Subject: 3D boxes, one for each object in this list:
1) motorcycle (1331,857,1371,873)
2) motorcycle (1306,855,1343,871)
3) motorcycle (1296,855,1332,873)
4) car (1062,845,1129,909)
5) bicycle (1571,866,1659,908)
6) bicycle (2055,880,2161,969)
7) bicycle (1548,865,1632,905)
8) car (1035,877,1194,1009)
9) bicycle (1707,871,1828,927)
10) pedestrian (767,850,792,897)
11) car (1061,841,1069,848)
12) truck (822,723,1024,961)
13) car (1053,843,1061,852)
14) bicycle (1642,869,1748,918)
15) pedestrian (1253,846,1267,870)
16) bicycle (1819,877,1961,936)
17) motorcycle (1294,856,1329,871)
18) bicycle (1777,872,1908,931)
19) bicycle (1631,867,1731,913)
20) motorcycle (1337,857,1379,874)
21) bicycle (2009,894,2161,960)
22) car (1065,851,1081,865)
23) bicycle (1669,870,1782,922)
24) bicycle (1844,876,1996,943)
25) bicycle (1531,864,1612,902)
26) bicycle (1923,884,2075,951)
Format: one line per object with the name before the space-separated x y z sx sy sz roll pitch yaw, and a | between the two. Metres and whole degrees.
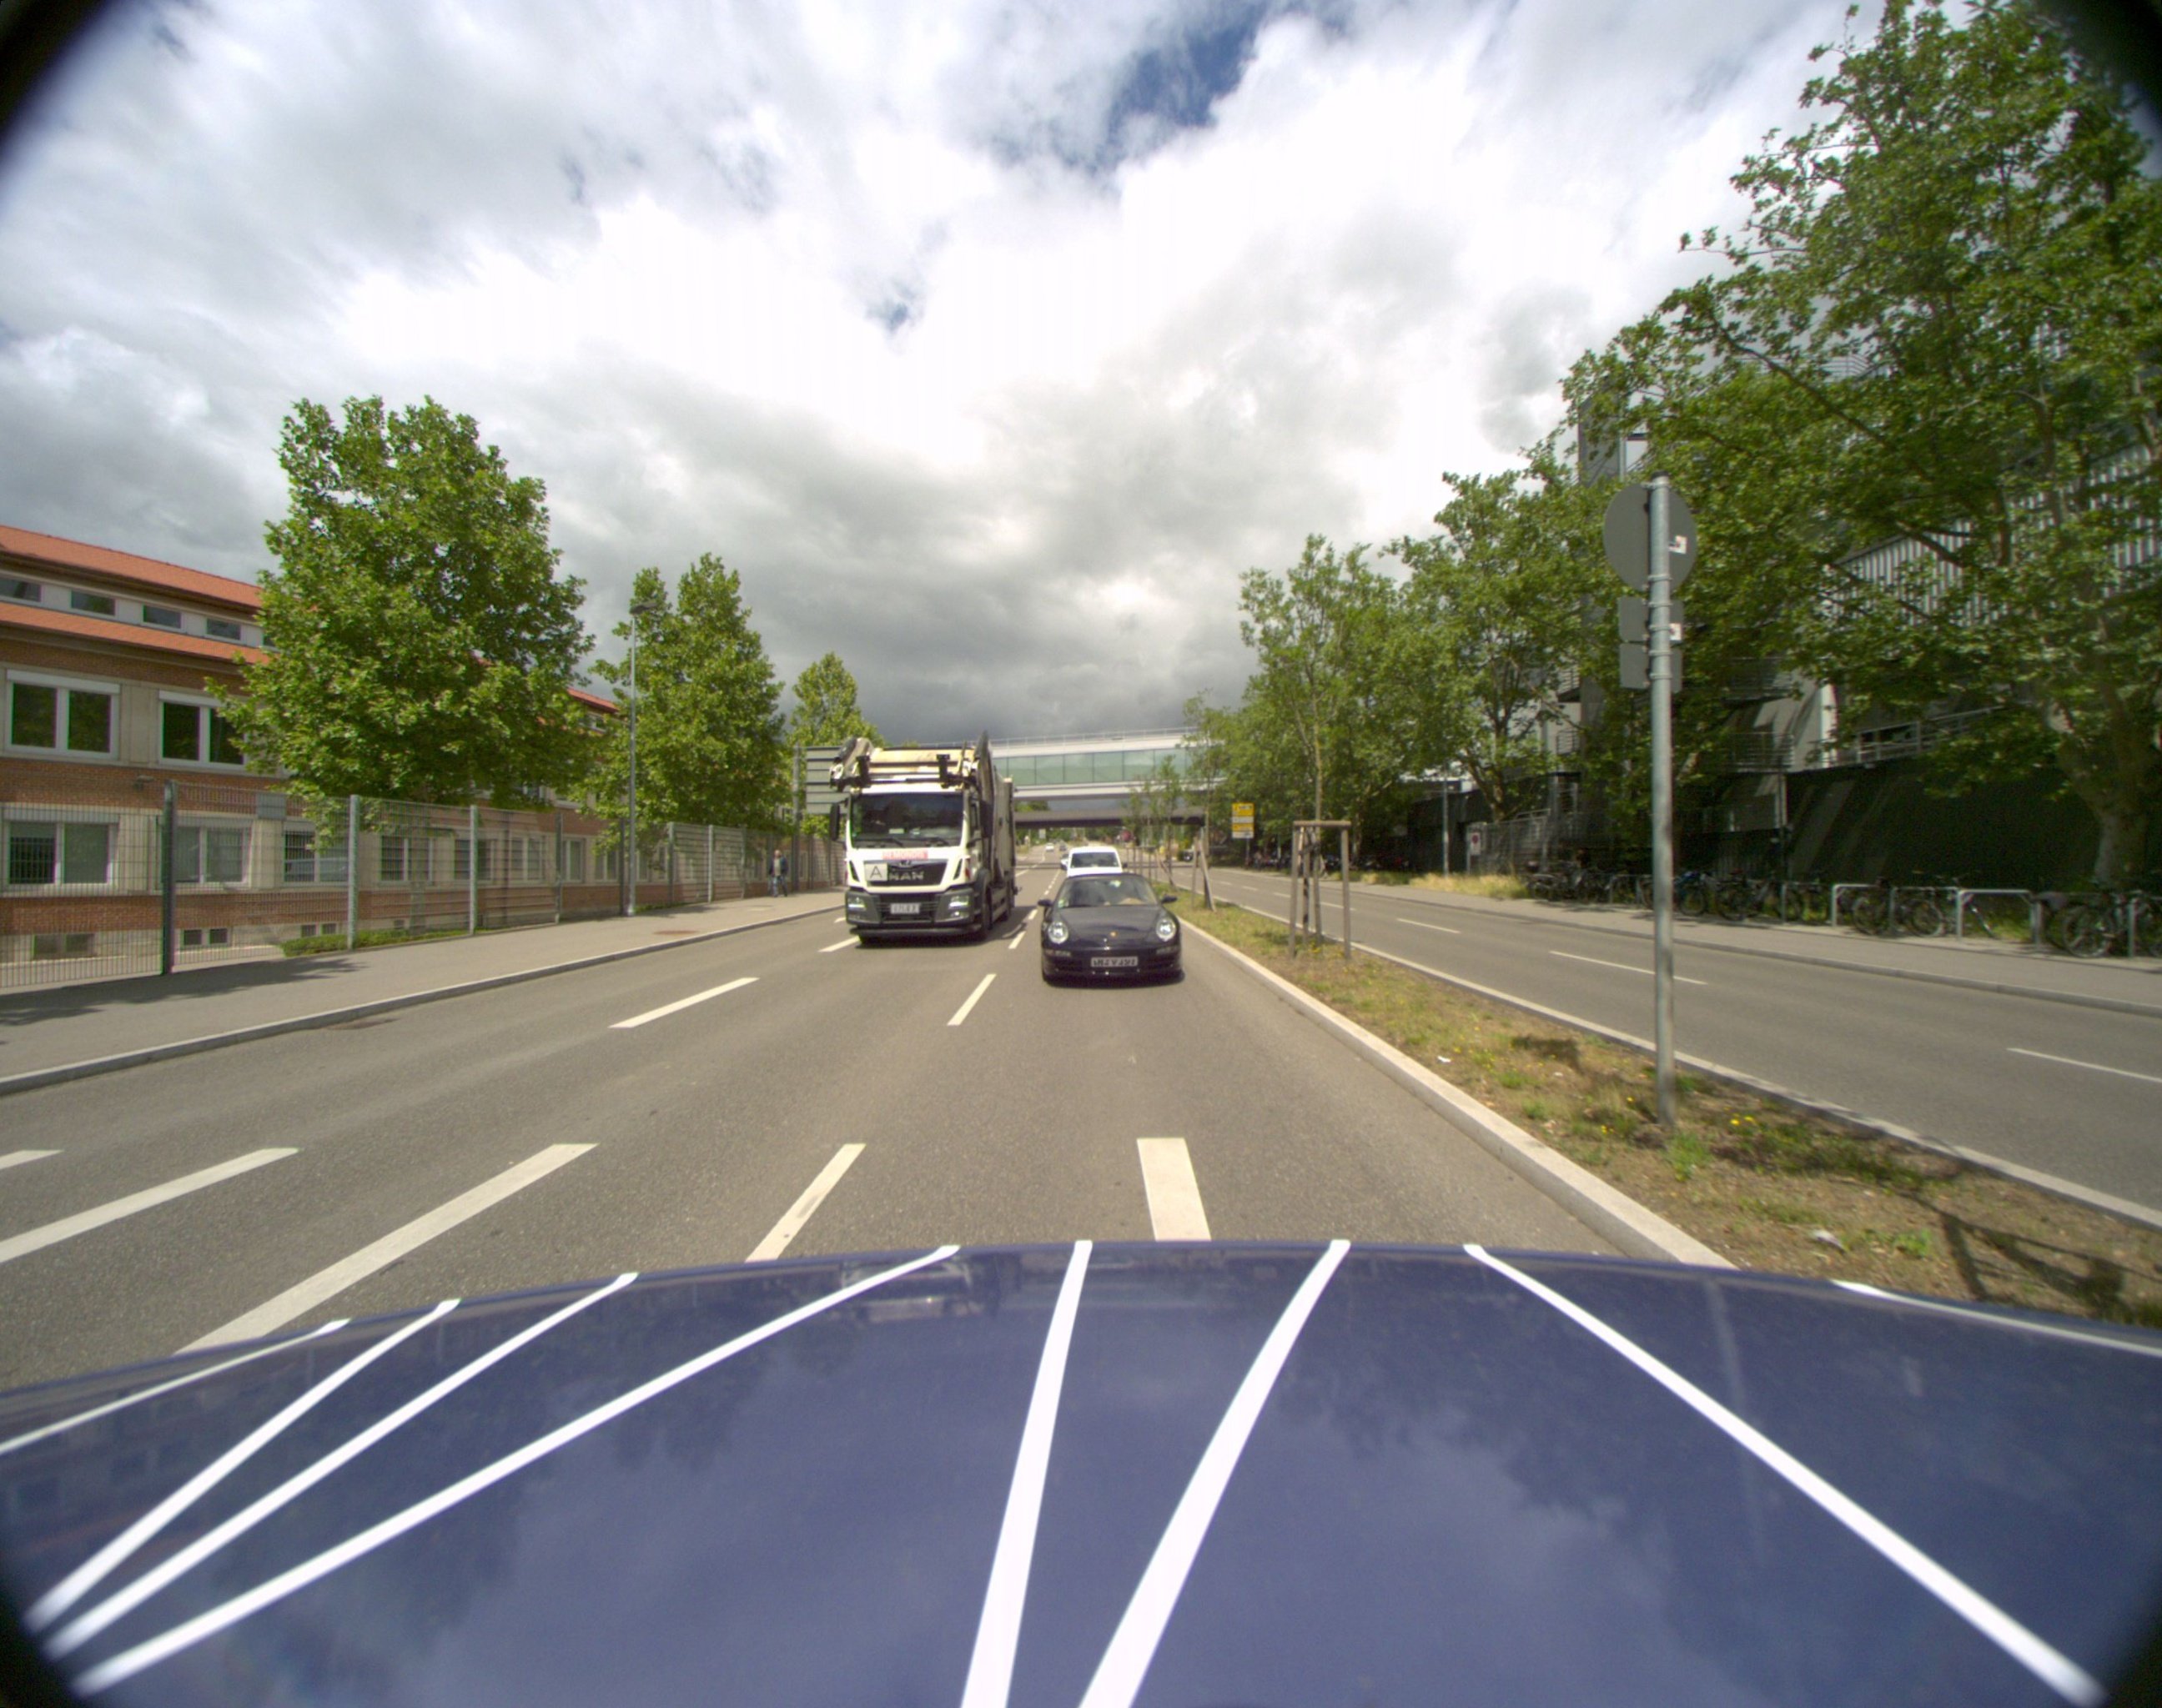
motorcycle | 15.716 0.621 44.281 2.133 0.880 0.534 -1 0 1
motorcycle | 15.310 0.552 47.816 2.133 0.963 0.534 -1 0 1
motorcycle | 15.067 0.659 49.142 2.133 1.131 0.534 -1 0 1
car | 0.452 0.660 24.297 1.862 1.800 4.906 -1 0 1
bicycle | 14.814 0.917 21.097 2.129 1.104 0.382 -1 1 3
bicycle | 14.347 0.929 10.236 1.993 1.121 0.382 -1 1 -1
bicycle | 14.744 0.904 22.020 2.129 1.104 0.382 -1 1 3
car | 0.390 1.028 10.174 1.710 1.280 3.806 -1 0 1
bicycle | 14.493 0.946 16.059 2.129 1.104 0.382 -1 1 3
pedestrian | -11.371 0.728 28.667 0.698 1.772 0.658 1 1 -5
car | -4.286 -2.572 205.125 1.862 1.800 4.357 -3 0 1
truck | -3.024 -0.249 17.828 2.495 3.890 10.172 -2 1 0
car | -6.369 -1.684 200.651 1.925 2.082 4.657 -1 0 2
bicycle | 14.497 0.926 17.970 2.129 1.104 0.382 -1 1 3
pedestrian | 13.084 0.282 55.498 0.900 1.710 0.673 -1 1 1
bicycle | 15.004 0.971 14.113 2.129 1.025 0.382 -1 1 3
motorcycle | 15.308 0.613 50.557 2.133 0.963 0.534 -1 0 1
bicycle | 15.034 0.928 15.020 2.129 1.104 0.382 -1 1 3
bicycle | 15.057 0.897 19.085 2.129 1.104 0.382 -1 1 3
motorcycle | 15.441 0.616 42.393 2.133 0.893 0.534 -1 0 1
bicycle | 14.950 1.073 11.239 1.993 0.885 0.382 -1 1 -1
car | -0.913 0.470 89.613 1.746 1.647 3.545 -1 0 0
bicycle | 14.471 0.934 17.083 2.129 1.104 0.382 -1 1 3
bicycle | 14.571 0.959 13.219 2.129 1.089 0.382 -1 1 3
bicycle | 14.740 0.868 22.861 2.129 1.104 0.382 -1 1 3
bicycle | 14.746 1.015 12.218 1.993 0.992 0.382 -1 1 -1
